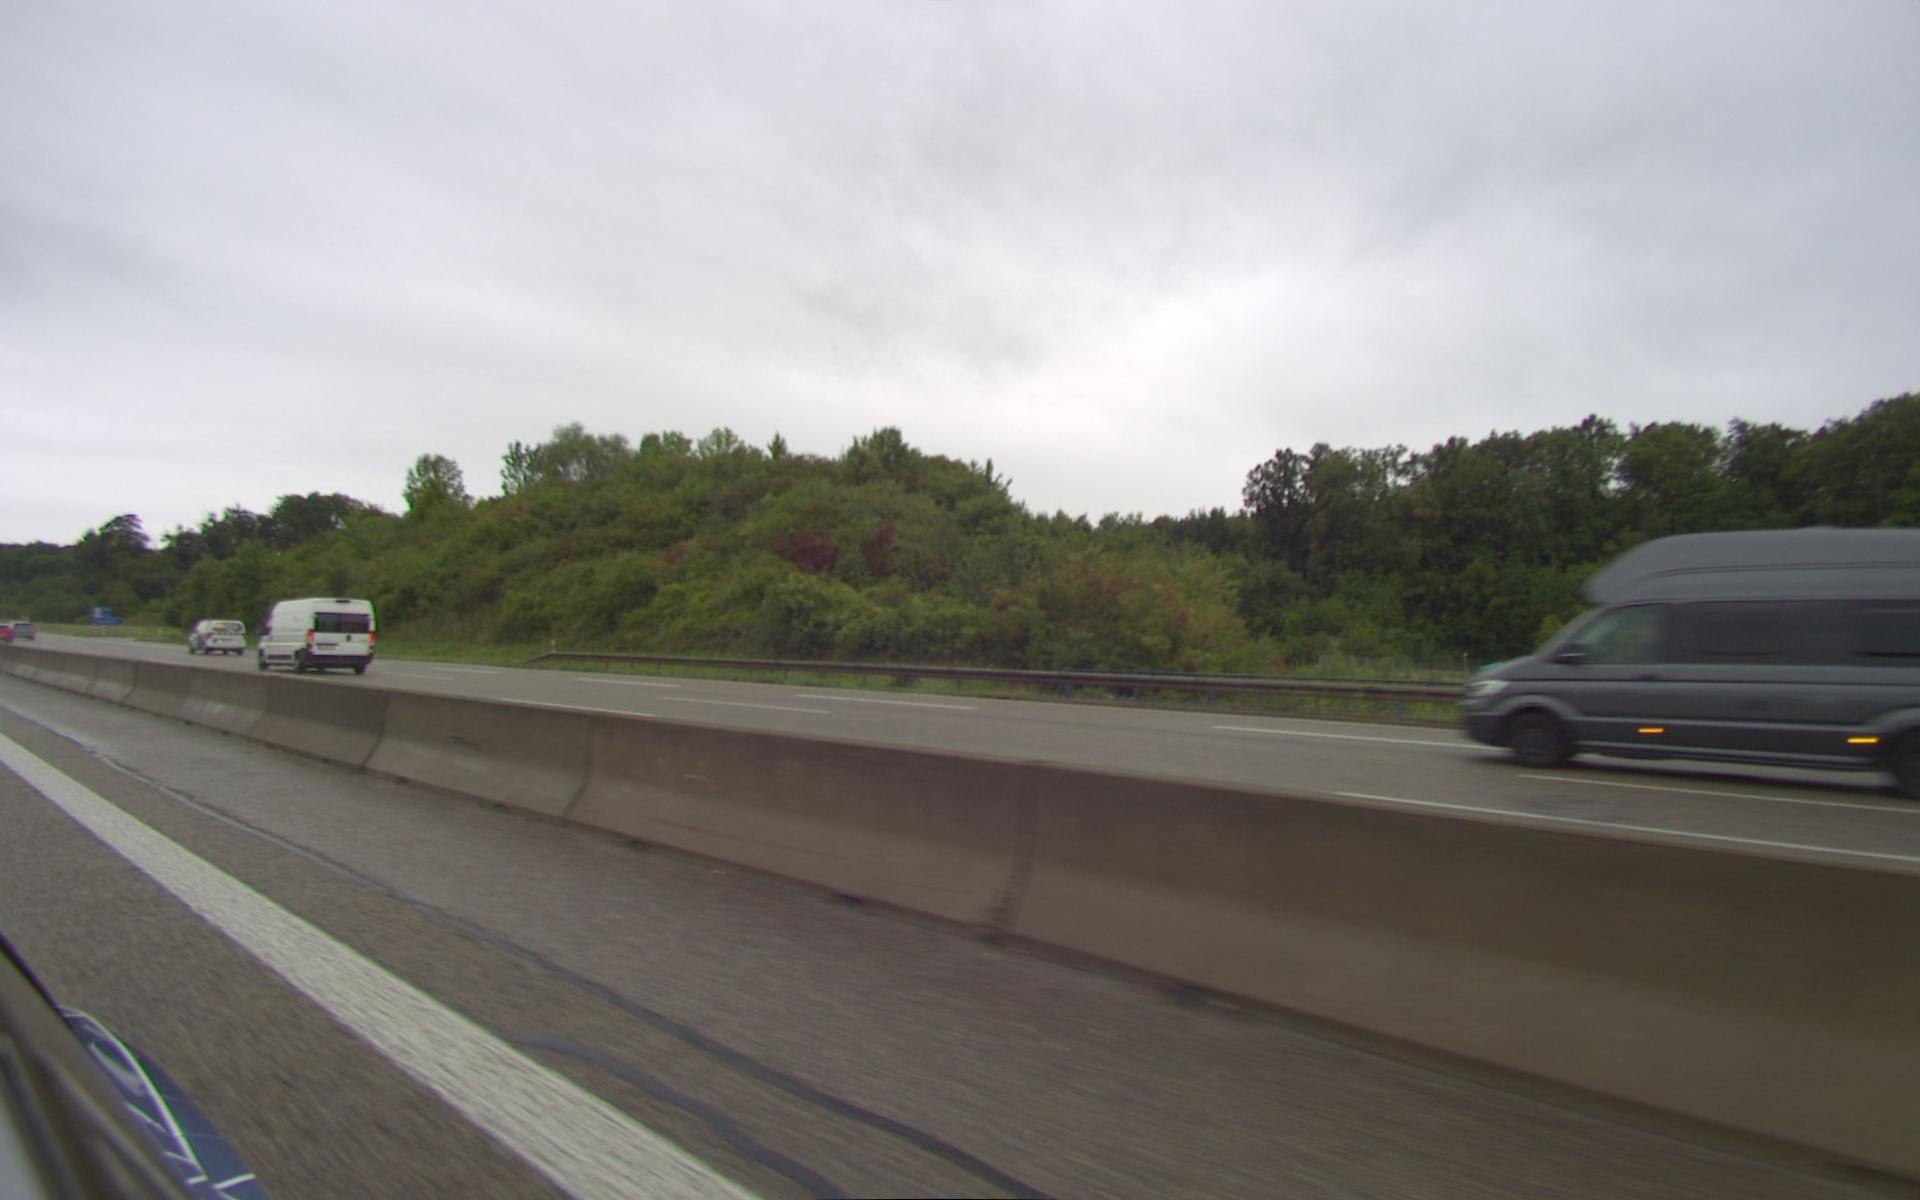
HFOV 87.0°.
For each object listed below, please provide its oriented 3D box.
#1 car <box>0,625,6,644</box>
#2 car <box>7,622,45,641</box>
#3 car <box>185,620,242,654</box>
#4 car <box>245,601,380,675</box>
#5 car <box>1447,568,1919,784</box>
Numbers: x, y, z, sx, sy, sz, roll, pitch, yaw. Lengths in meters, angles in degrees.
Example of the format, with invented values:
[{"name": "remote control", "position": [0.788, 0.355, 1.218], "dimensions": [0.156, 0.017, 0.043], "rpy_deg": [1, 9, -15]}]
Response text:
[{"name": "car", "position": [-72.762, 2.586, 75.658], "dimensions": [4.364, 1.423, 1.618], "rpy_deg": [-1, -2, 41]}, {"name": "car", "position": [-84.103, 2.804, 91.120], "dimensions": [4.914, 1.701, 1.972], "rpy_deg": [-1, -2, 42]}, {"name": "car", "position": [-43.500, 2.157, 58.957], "dimensions": [4.528, 1.919, 1.723], "rpy_deg": [-1, -3, 41]}, {"name": "car", "position": [-22.582, 1.303, 35.176], "dimensions": [6.170, 2.349, 2.253], "rpy_deg": [-2, -3, 41]}, {"name": "car", "position": [9.434, 0.825, 11.864], "dimensions": [6.413, 2.185, 1.972], "rpy_deg": [-2, -3, 41]}]
